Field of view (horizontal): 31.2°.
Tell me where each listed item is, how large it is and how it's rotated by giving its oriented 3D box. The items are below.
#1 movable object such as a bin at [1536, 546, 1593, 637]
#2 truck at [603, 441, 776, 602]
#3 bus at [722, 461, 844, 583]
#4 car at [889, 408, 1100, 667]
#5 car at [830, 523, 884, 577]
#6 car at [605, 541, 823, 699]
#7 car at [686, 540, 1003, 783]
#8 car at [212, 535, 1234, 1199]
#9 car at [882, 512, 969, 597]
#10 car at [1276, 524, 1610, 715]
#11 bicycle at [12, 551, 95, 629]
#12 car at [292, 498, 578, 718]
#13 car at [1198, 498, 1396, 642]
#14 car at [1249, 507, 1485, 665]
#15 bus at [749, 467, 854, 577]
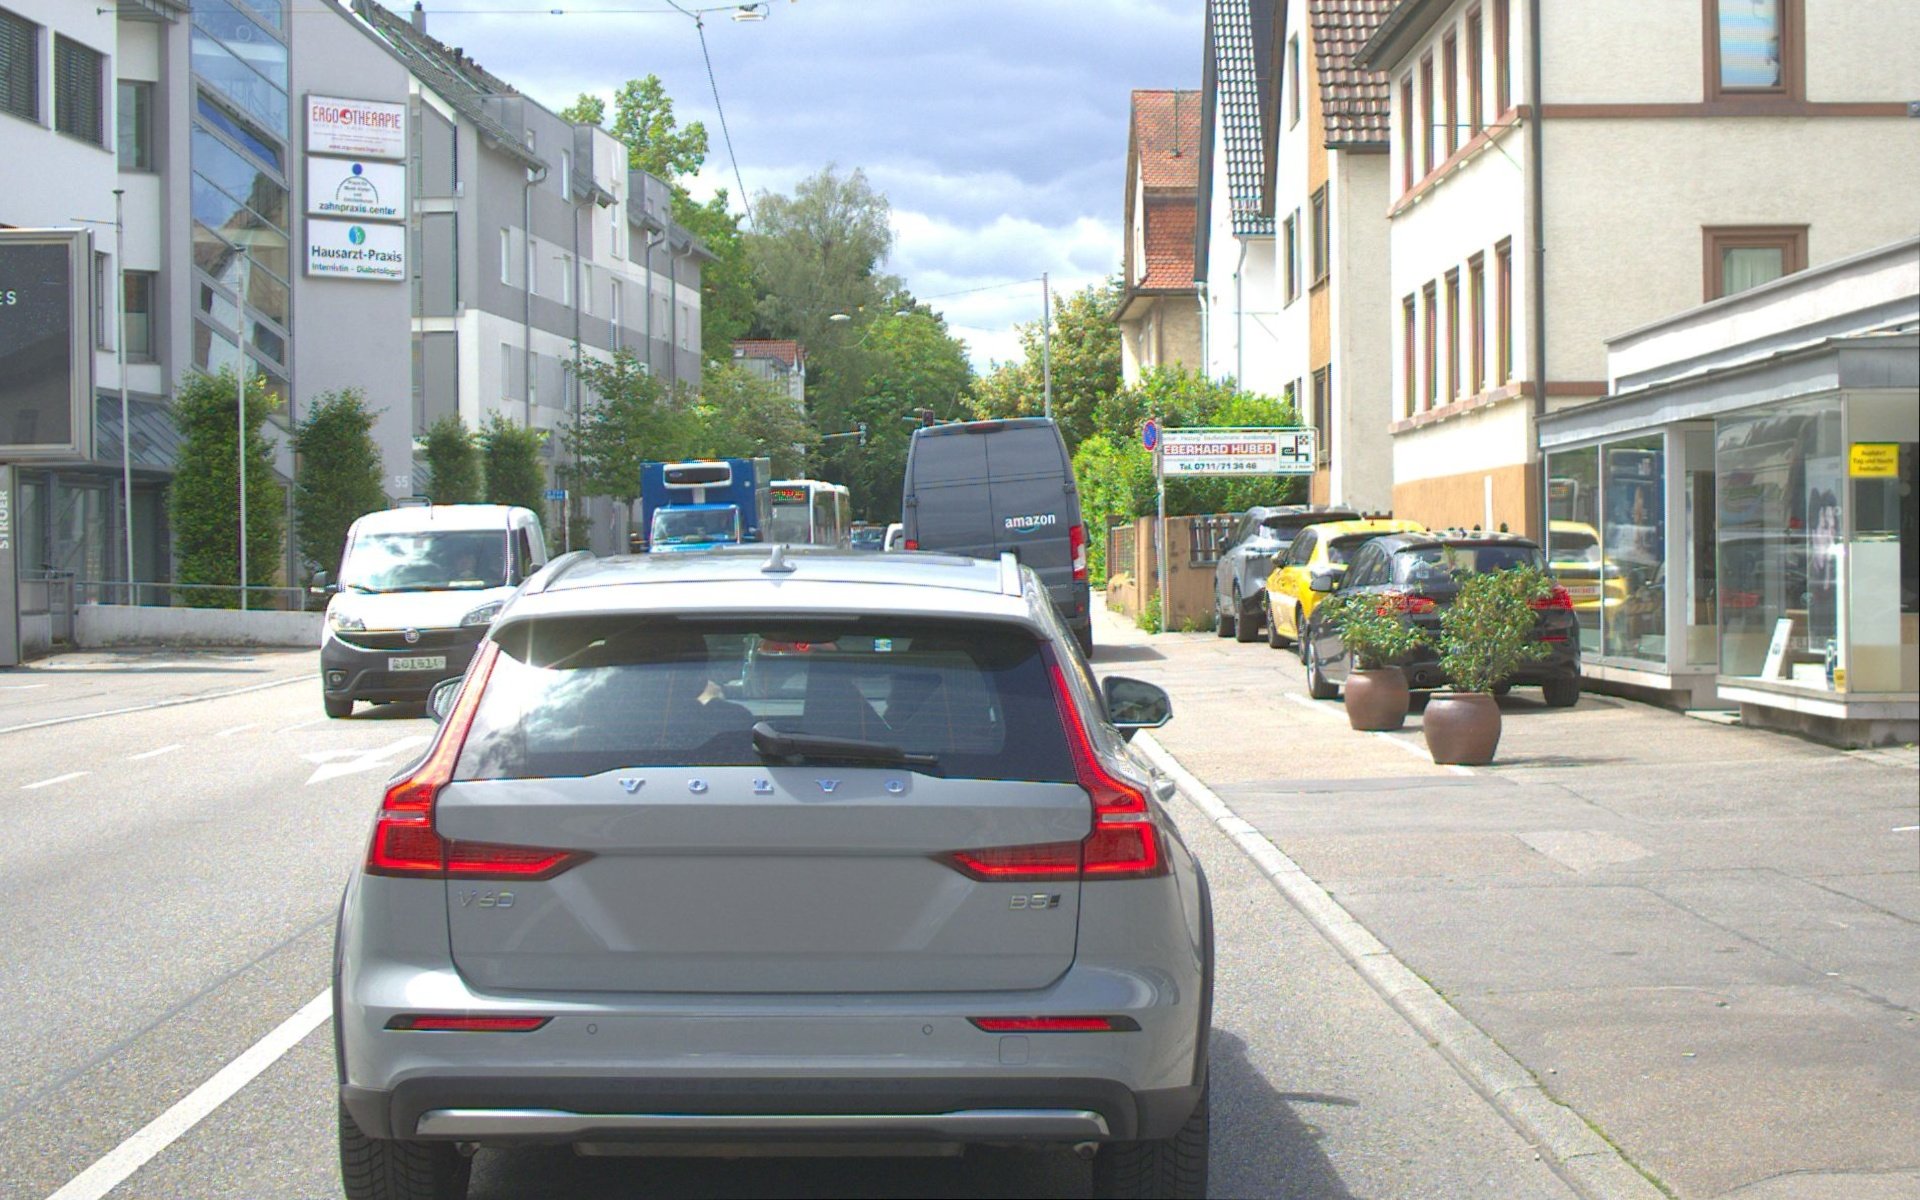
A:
[{"bbox_3d":[6.216,-0.089,35.350,0.501,0.922,0.598,-1,1,4],"label":"movable object such as a bin"},{"bbox_3d":[-5.472,-1.598,70.929,2.853,3.082,8.089,-1,1,0],"label":"truck"},{"bbox_3d":[-4.783,-2.129,94.698,2.682,3.153,10.185,-1,1,1],"label":"bus"},{"bbox_3d":[0.364,-0.740,40.391,2.252,2.786,5.569,-1,1,0],"label":"car"},{"bbox_3d":[-4.200,-2.061,141.374,2.105,2.114,4.766,-1,1,-1],"label":"car"},{"bbox_3d":[-2.475,0.152,33.804,1.896,1.441,3.969,0,1,-8],"label":"car"},{"bbox_3d":[-0.675,0.337,22.775,1.896,1.441,3.968,0,1,1],"label":"car"},{"bbox_3d":[-0.398,0.576,8.370,1.896,1.448,3.968,0,1,1],"label":"car"},{"bbox_3d":[-0.818,-1.125,83.836,1.993,2.007,4.000,0,1,1],"label":"car"},{"bbox_3d":[3.950,0.104,28.874,1.968,1.442,4.536,-1,1,-2],"label":"car"},{"bbox_3d":[-13.272,-0.154,50.393,0.630,1.091,2.003,-1,1,1],"label":"bicycle"},{"bbox_3d":[-4.650,0.022,31.046,1.945,1.814,4.279,-1,1,-1],"label":"car"},{"bbox_3d":[4.068,-0.405,42.166,1.860,1.606,4.586,-2,1,-1],"label":"car"},{"bbox_3d":[4.357,-0.202,37.380,1.877,1.442,4.308,-1,3,-2],"label":"car"},{"bbox_3d":[-4.720,-2.334,103.824,2.716,3.153,8.069,-1,1,0],"label":"bus"}]
